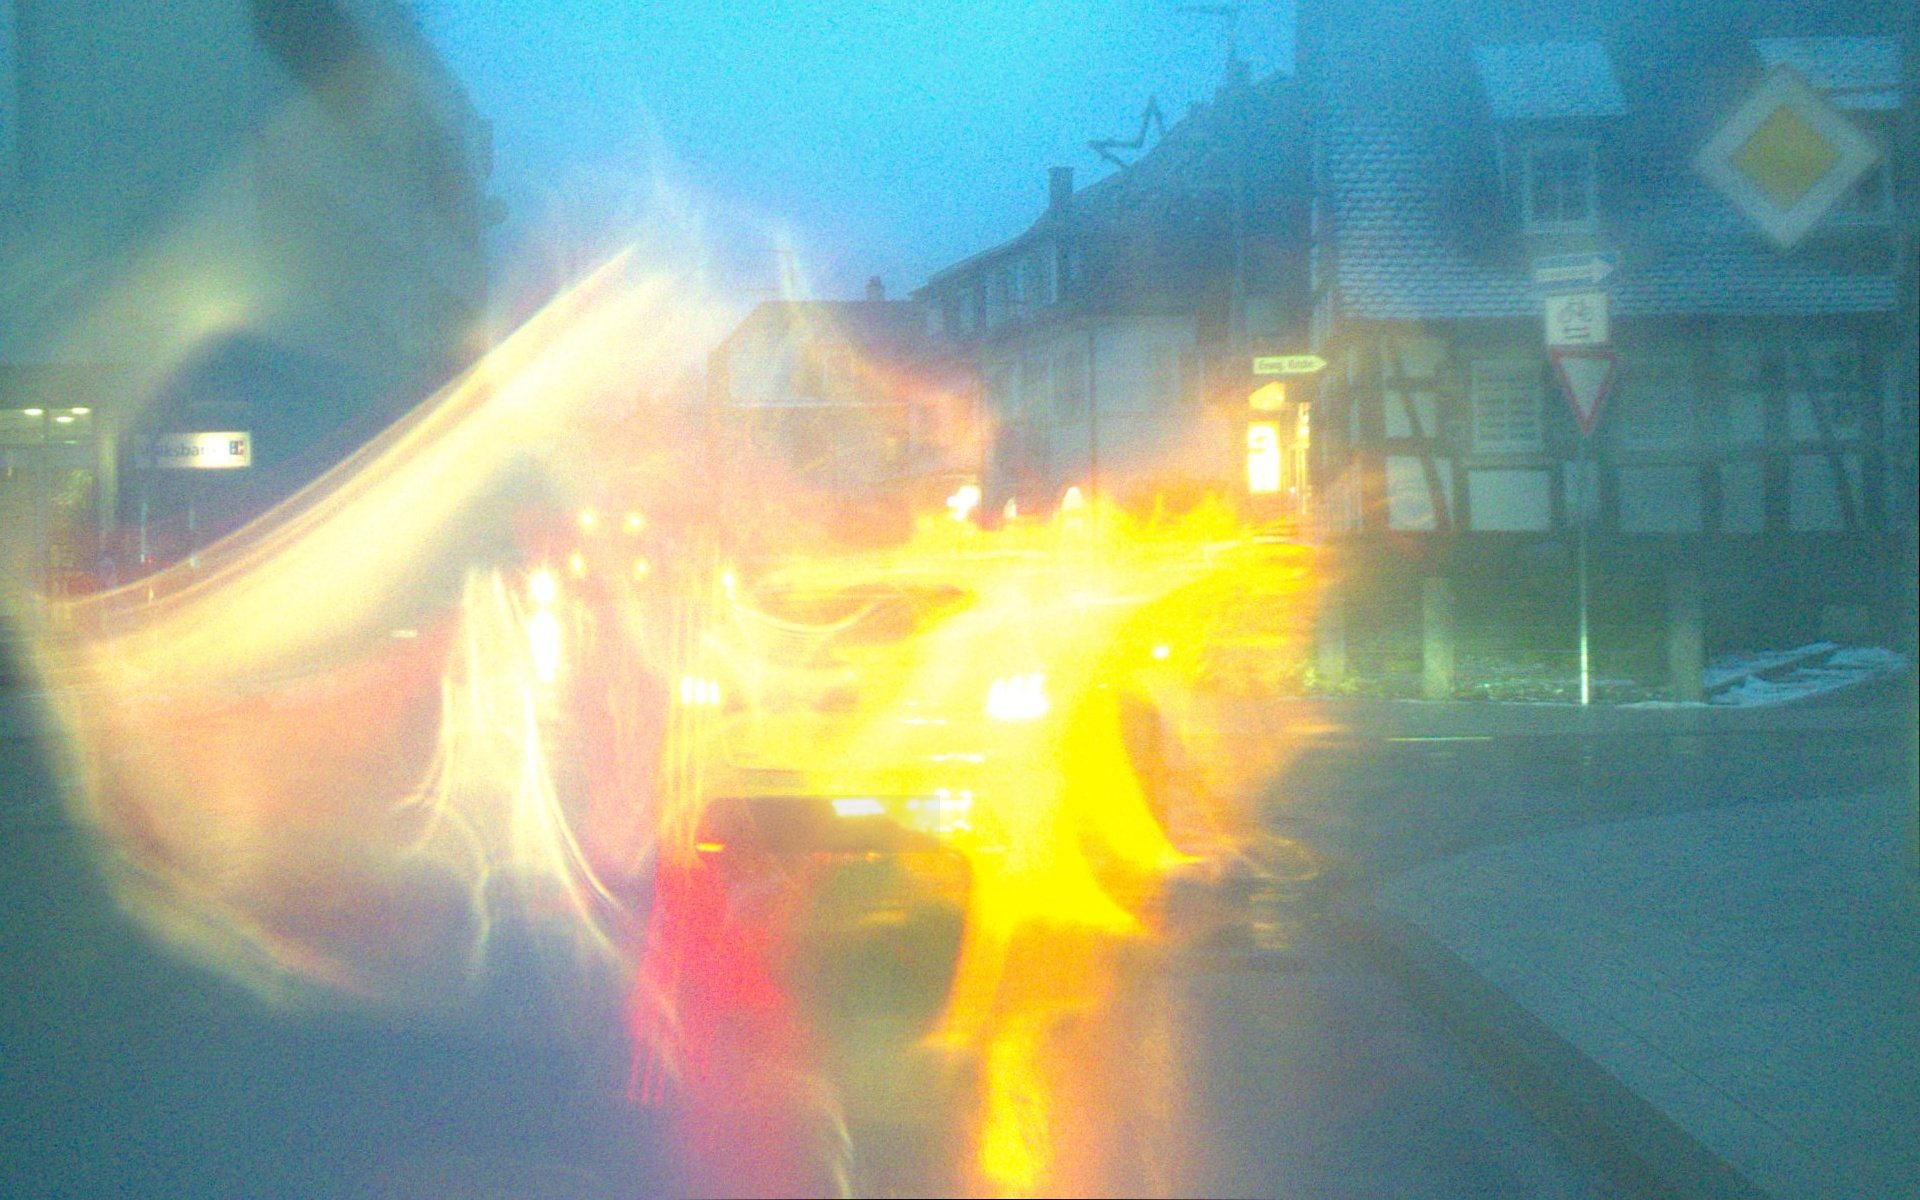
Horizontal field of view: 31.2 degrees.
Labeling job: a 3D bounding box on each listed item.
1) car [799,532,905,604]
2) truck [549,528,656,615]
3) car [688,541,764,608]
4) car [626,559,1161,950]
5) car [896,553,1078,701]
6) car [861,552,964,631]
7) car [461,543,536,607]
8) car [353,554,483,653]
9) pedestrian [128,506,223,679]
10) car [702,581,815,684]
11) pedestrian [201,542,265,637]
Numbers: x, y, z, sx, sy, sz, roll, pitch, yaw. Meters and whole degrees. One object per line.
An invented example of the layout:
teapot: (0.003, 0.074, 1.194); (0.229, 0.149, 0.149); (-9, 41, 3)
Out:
car: (-2.505, -0.749, 78.441); (1.882, 1.541, 4.672); (-2, 1, -8)
truck: (-13.355, -1.083, 127.914); (3.014, 3.118, 8.002); (0, 1, -13)
car: (-5.276, -0.585, 77.799); (1.638, 1.476, 3.271); (1, 1, -3)
car: (-0.151, 0.558, 14.794); (1.771, 1.442, 3.726); (0, 1, 7)
car: (0.247, 0.262, 37.740); (1.732, 1.454, 4.000); (-3, 1, -2)
car: (-0.985, -0.197, 69.463); (1.794, 1.455, 4.531); (-3, 1, -4)
car: (-12.302, -0.686, 91.508); (1.794, 1.637, 3.813); (1, 1, -11)
car: (-8.793, 0.030, 56.015); (1.615, 1.527, 3.928); (1, 1, -2)
pedestrian: (-8.996, -0.100, 39.396); (0.973, 1.931, 1.203); (-1, 1, -15)
car: (-3.008, 0.464, 51.772); (1.638, 1.476, 3.379); (0, 0, -3)
pedestrian: (-10.166, -0.146, 48.077); (0.755, 1.306, 0.828); (1, 0, -4)
